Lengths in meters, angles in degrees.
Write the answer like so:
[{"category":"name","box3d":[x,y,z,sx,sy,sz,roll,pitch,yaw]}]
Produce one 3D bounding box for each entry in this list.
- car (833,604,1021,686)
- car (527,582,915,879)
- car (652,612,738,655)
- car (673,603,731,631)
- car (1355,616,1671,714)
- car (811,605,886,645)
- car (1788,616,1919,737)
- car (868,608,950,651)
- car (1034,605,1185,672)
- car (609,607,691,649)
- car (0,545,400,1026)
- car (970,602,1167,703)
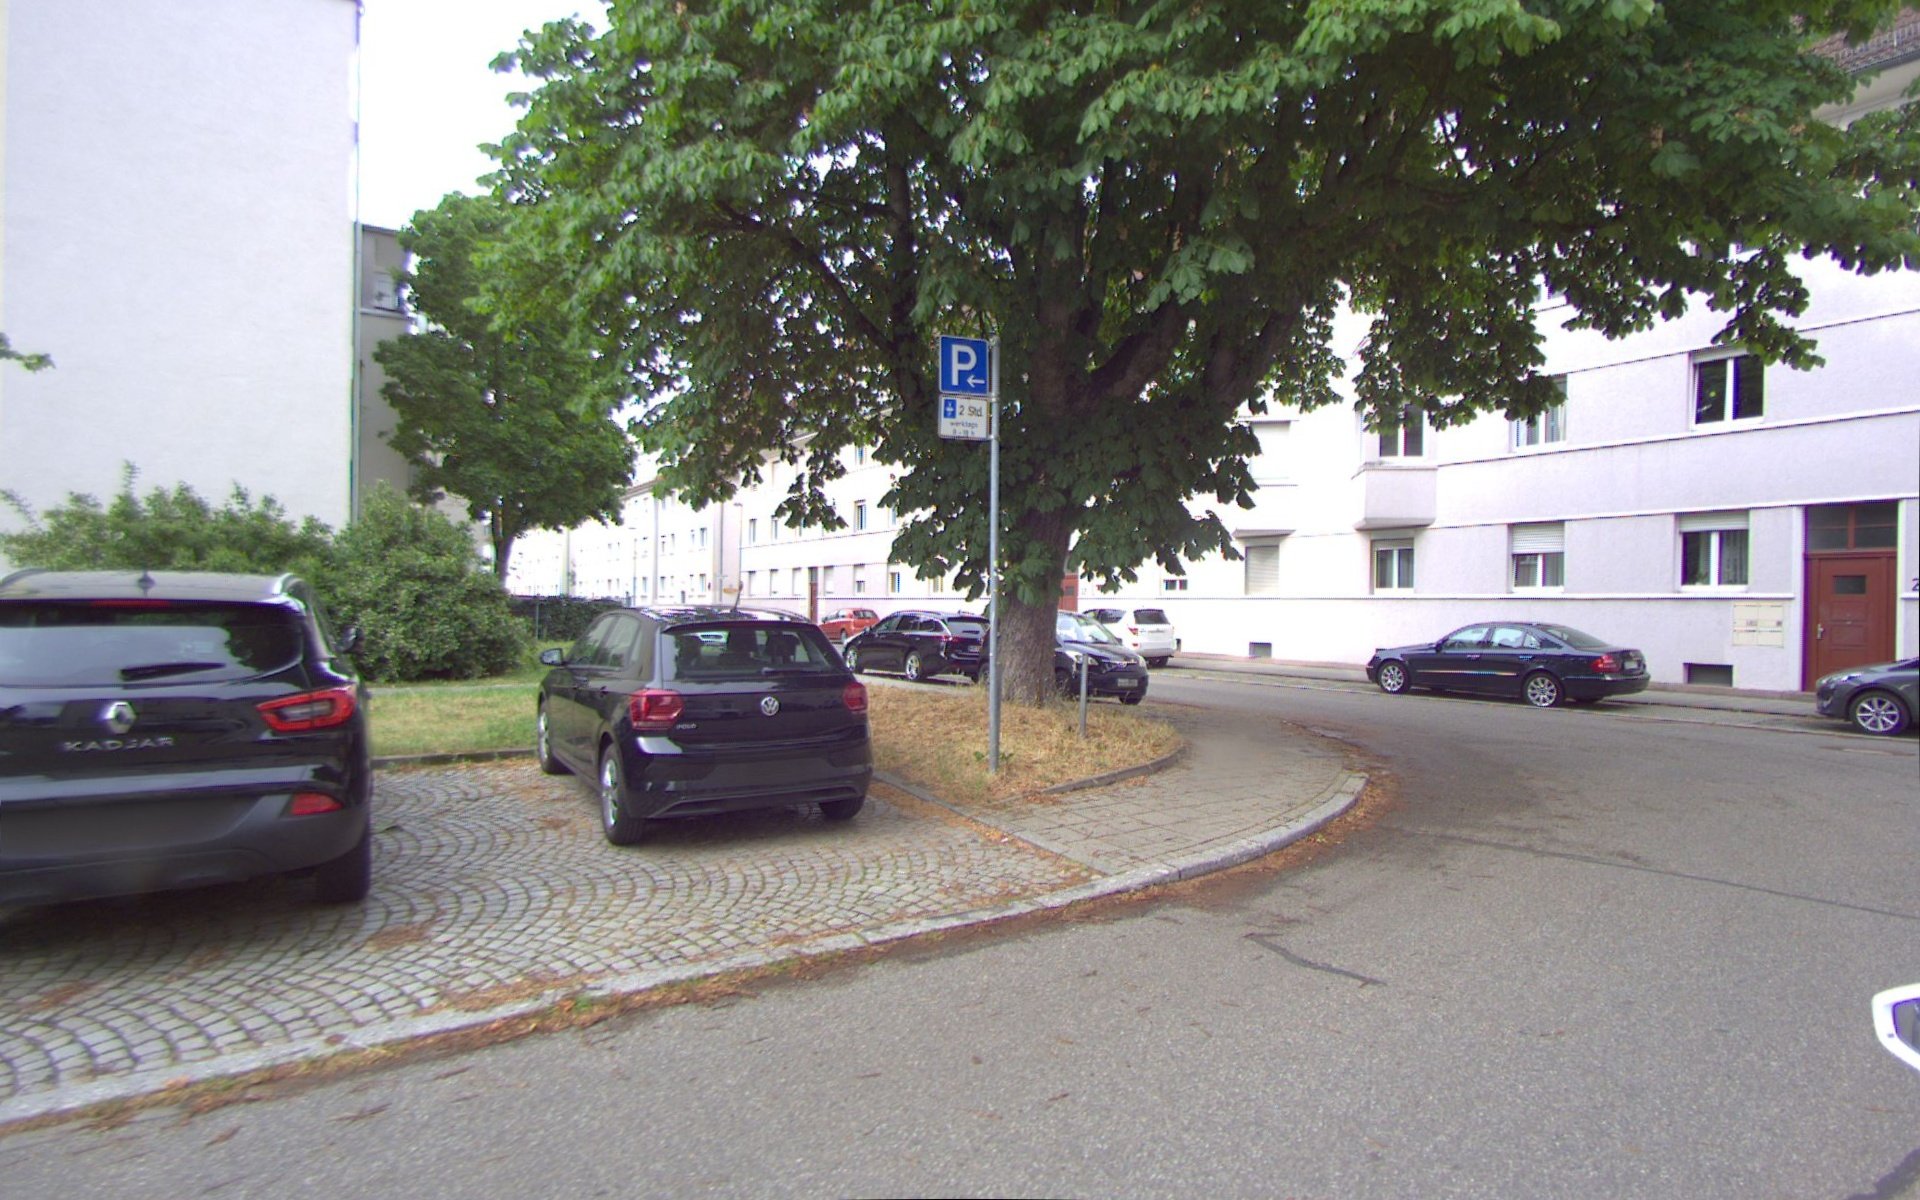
[{"category":"car","box3d":[-0.852,0.908,21.545,1.853,1.483,4.792,4,-2,-32]},{"category":"car","box3d":[-2.018,0.714,7.534,1.809,1.598,3.811,1,0,-30]},{"category":"car","box3d":[-9.150,1.122,34.482,1.684,1.275,3.979,3,-2,-33]},{"category":"car","box3d":[-14.864,0.953,57.751,1.743,1.487,4.556,2,-1,-34]},{"category":"car","box3d":[9.999,1.083,18.600,1.733,1.440,4.902,0,0,-34]},{"category":"car","box3d":[-4.705,0.994,41.997,1.683,1.546,3.791,0,0,-32]},{"category":"car","box3d":[13.658,1.037,13.153,1.744,1.545,4.040,0,0,-34]},{"category":"car","box3d":[-1.977,1.085,37.877,1.554,1.493,3.665,0,0,-31]},{"category":"car","box3d":[4.134,1.001,28.366,1.830,1.696,4.247,0,1,-35]},{"category":"car","box3d":[-12.067,1.054,38.961,1.828,1.440,4.587,3,-2,-33]},{"category":"car","box3d":[-4.167,0.633,5.481,1.893,1.720,4.037,2,0,-29]},{"category":"car","box3d":[1.762,0.849,17.307,1.512,1.513,3.562,4,-2,-30]}]
